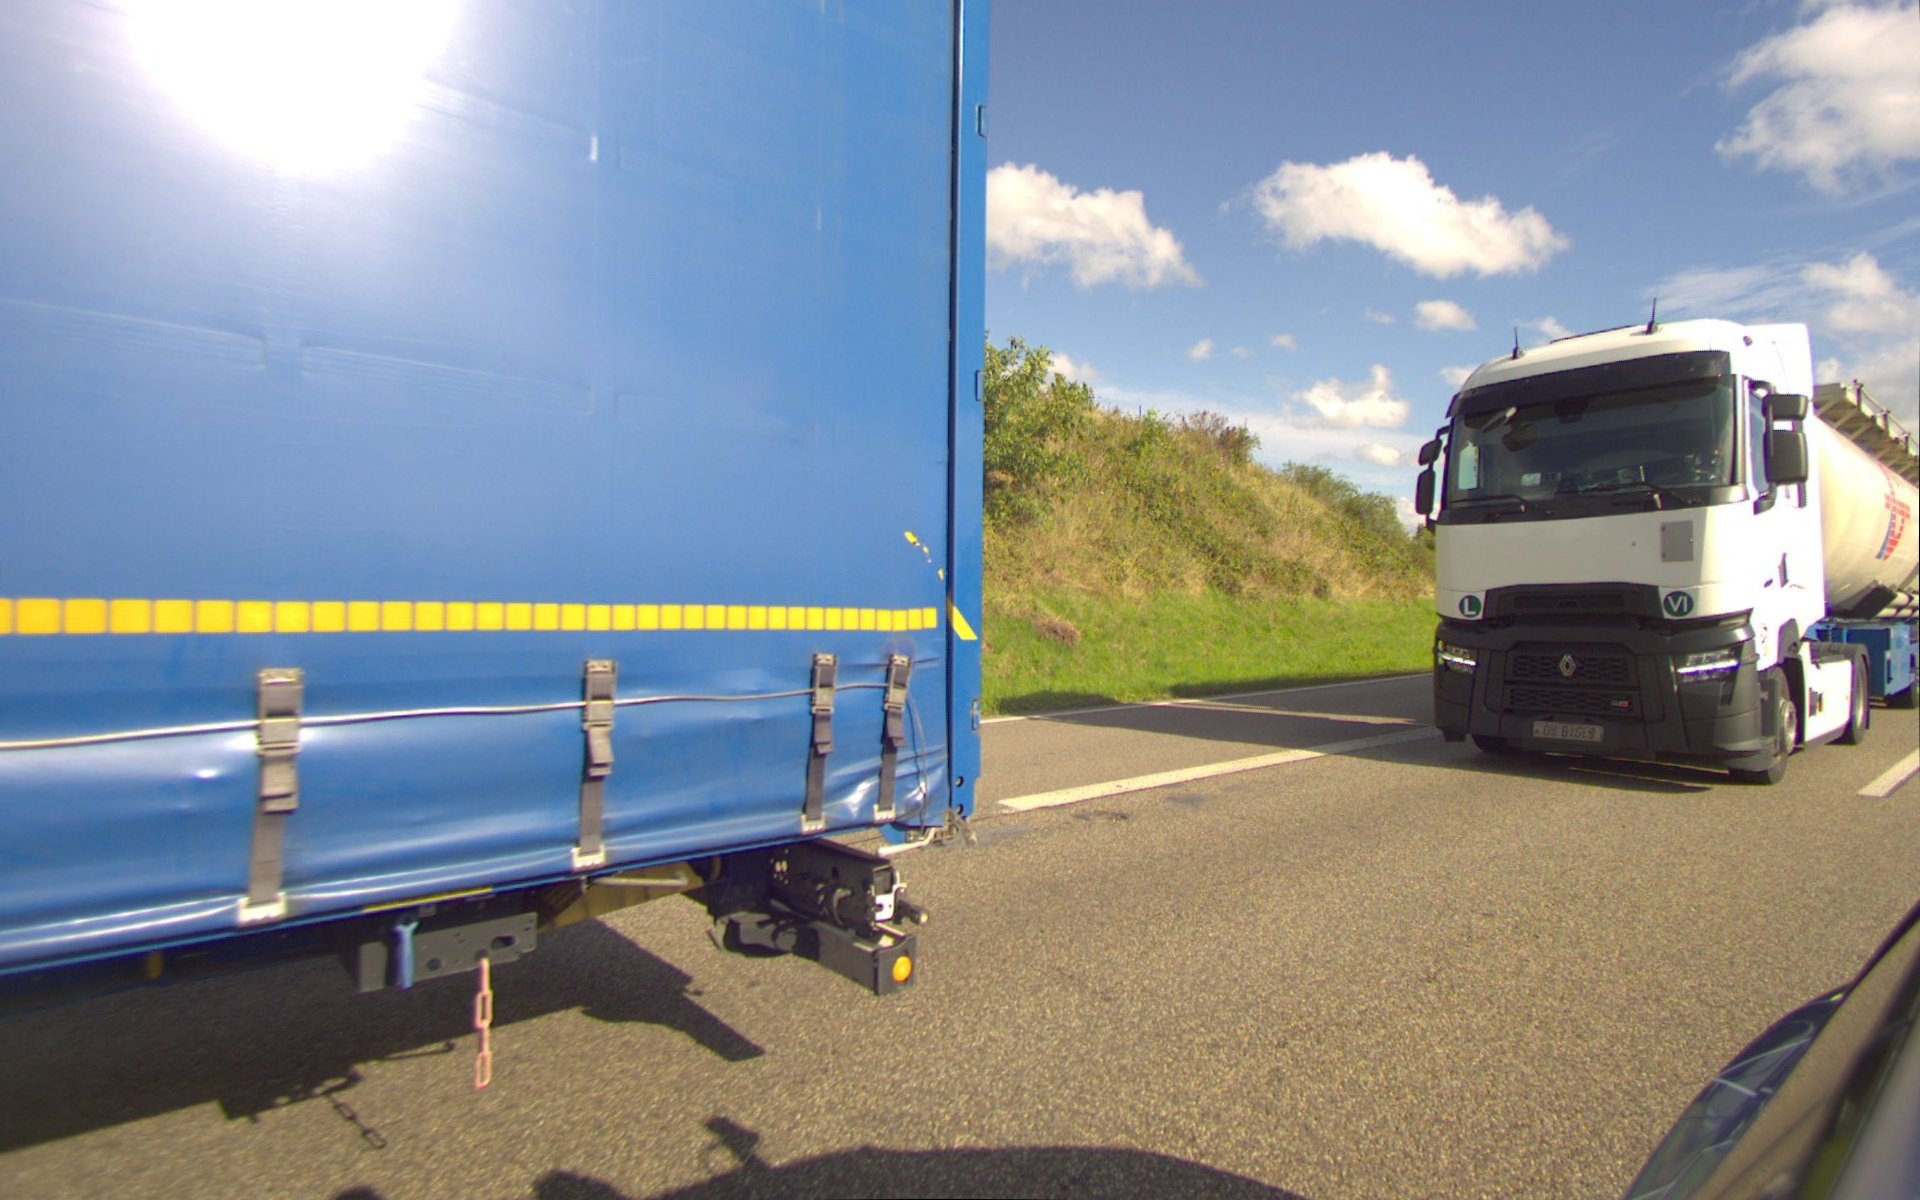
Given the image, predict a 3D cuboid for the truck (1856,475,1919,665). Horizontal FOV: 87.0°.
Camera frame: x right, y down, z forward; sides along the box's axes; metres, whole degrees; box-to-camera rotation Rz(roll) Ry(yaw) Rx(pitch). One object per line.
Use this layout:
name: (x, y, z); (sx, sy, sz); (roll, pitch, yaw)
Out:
truck: (23.007, -0.606, 23.577); (5.998, 4.071, 2.369); (1, 0, -41)

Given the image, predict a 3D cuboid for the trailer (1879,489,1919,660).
trailer: (28.288, -0.611, 28.204); (14.050, 4.047, 2.332); (0, 1, -41)

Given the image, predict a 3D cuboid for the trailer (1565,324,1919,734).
trailer: (12.048, -0.638, 14.448); (10.979, 3.985, 2.650); (1, -1, -41)

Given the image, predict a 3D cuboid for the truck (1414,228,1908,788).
truck: (7.540, -0.635, 10.450); (6.821, 3.975, 2.653); (1, -1, -41)
